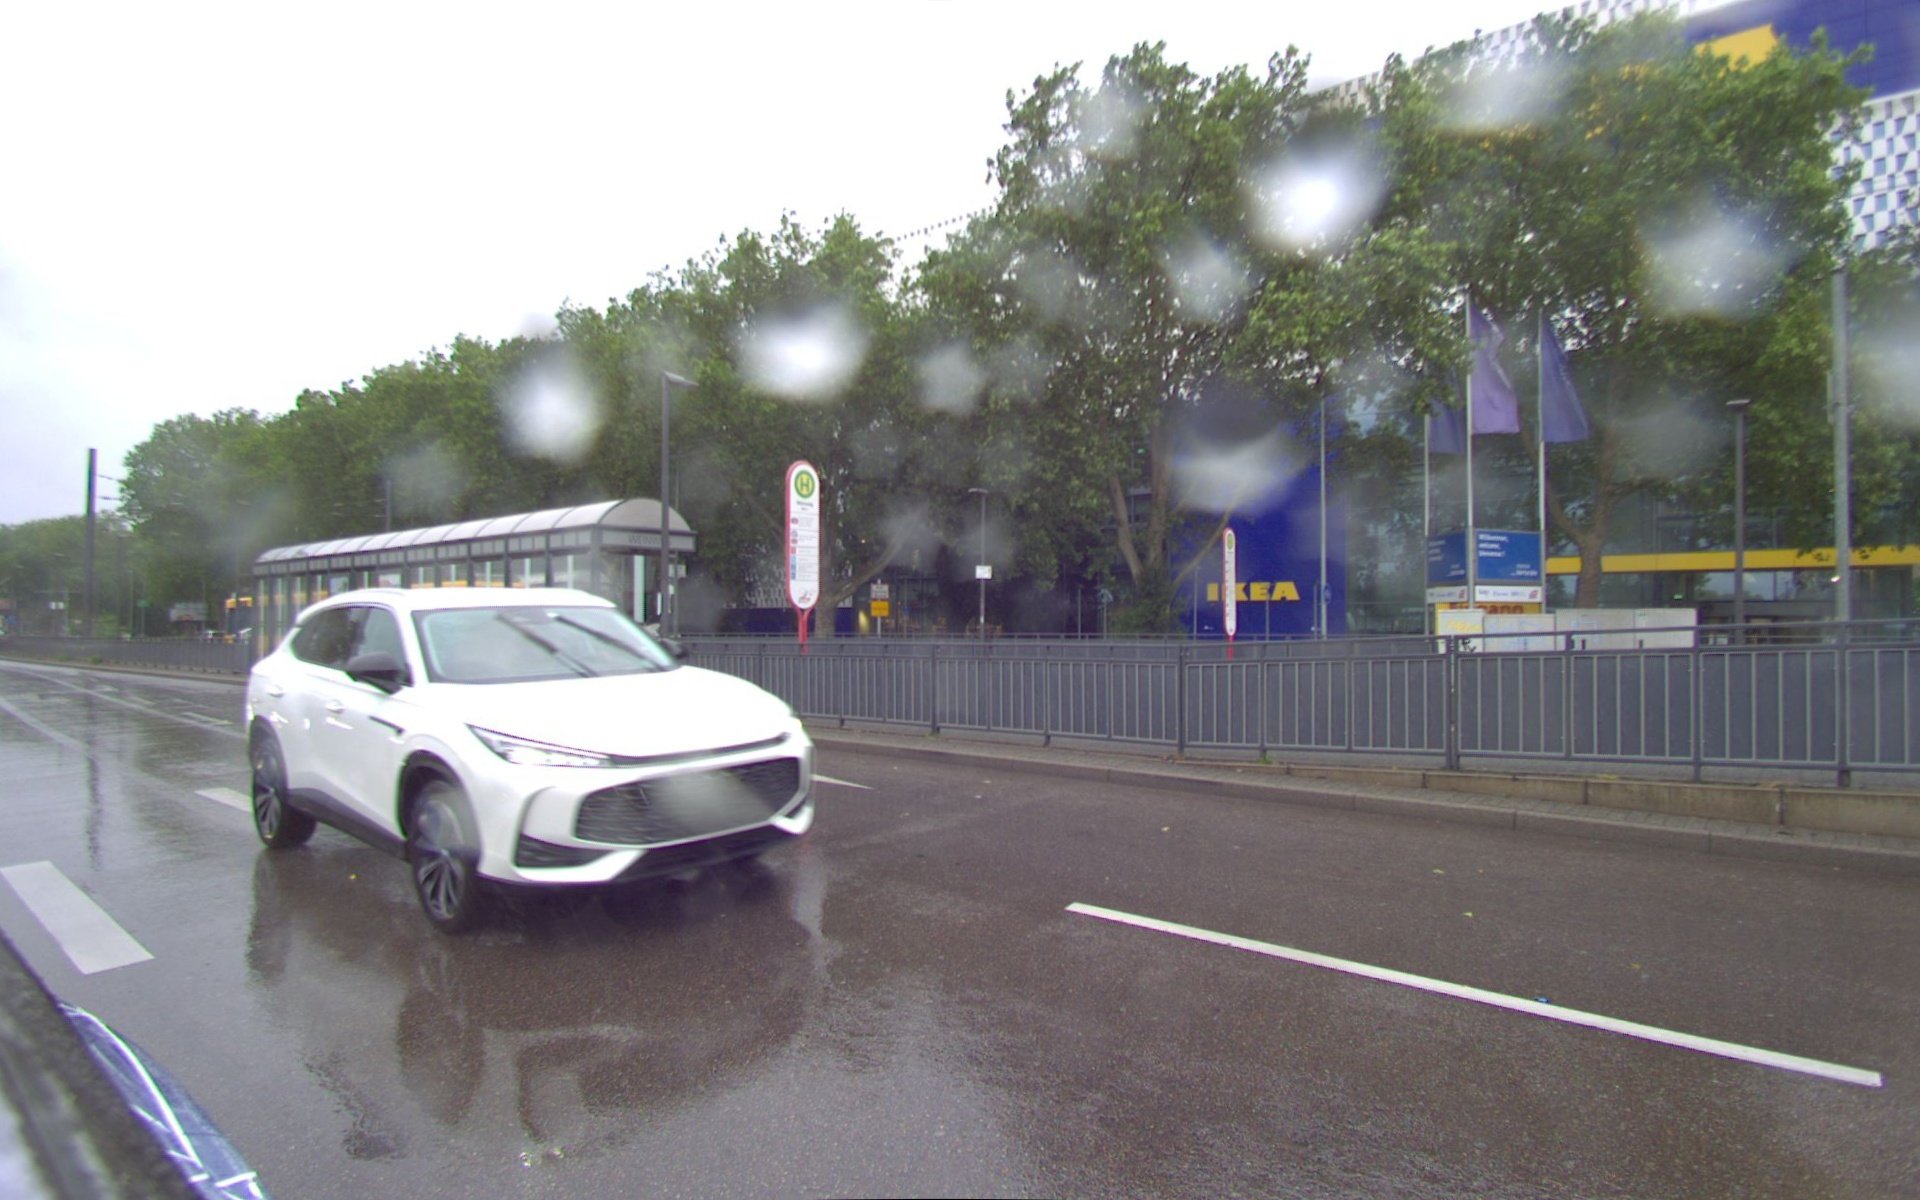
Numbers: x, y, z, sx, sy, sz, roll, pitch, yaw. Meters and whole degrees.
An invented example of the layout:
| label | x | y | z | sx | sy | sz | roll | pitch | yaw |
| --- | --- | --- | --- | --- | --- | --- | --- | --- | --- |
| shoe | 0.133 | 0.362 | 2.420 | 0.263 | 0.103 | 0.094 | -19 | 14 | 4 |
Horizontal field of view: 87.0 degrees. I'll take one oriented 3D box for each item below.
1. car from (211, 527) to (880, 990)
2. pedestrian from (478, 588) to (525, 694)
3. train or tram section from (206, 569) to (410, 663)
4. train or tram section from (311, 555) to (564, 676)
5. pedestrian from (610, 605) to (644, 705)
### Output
| label | x | y | z | sx | sy | sz | roll | pitch | yaw |
| --- | --- | --- | --- | --- | --- | --- | --- | --- | --- |
| car | -2.804 | 0.630 | 6.179 | 4.662 | 1.788 | 1.910 | -1 | 0 | 42 |
| pedestrian | -8.402 | 0.731 | 18.533 | 0.646 | 1.885 | 0.774 | -1 | 0 | -33 |
| train or tram section | -30.984 | 0.724 | 47.509 | 15.560 | 3.827 | 3.703 | -1 | 0 | 40 |
| train or tram section | -20.039 | 0.557 | 38.116 | 13.245 | 3.868 | 3.703 | -1 | 0 | 40 |
| pedestrian | -5.159 | 0.839 | 15.674 | 0.317 | 1.504 | 0.416 | -2 | 1 | -44 |
